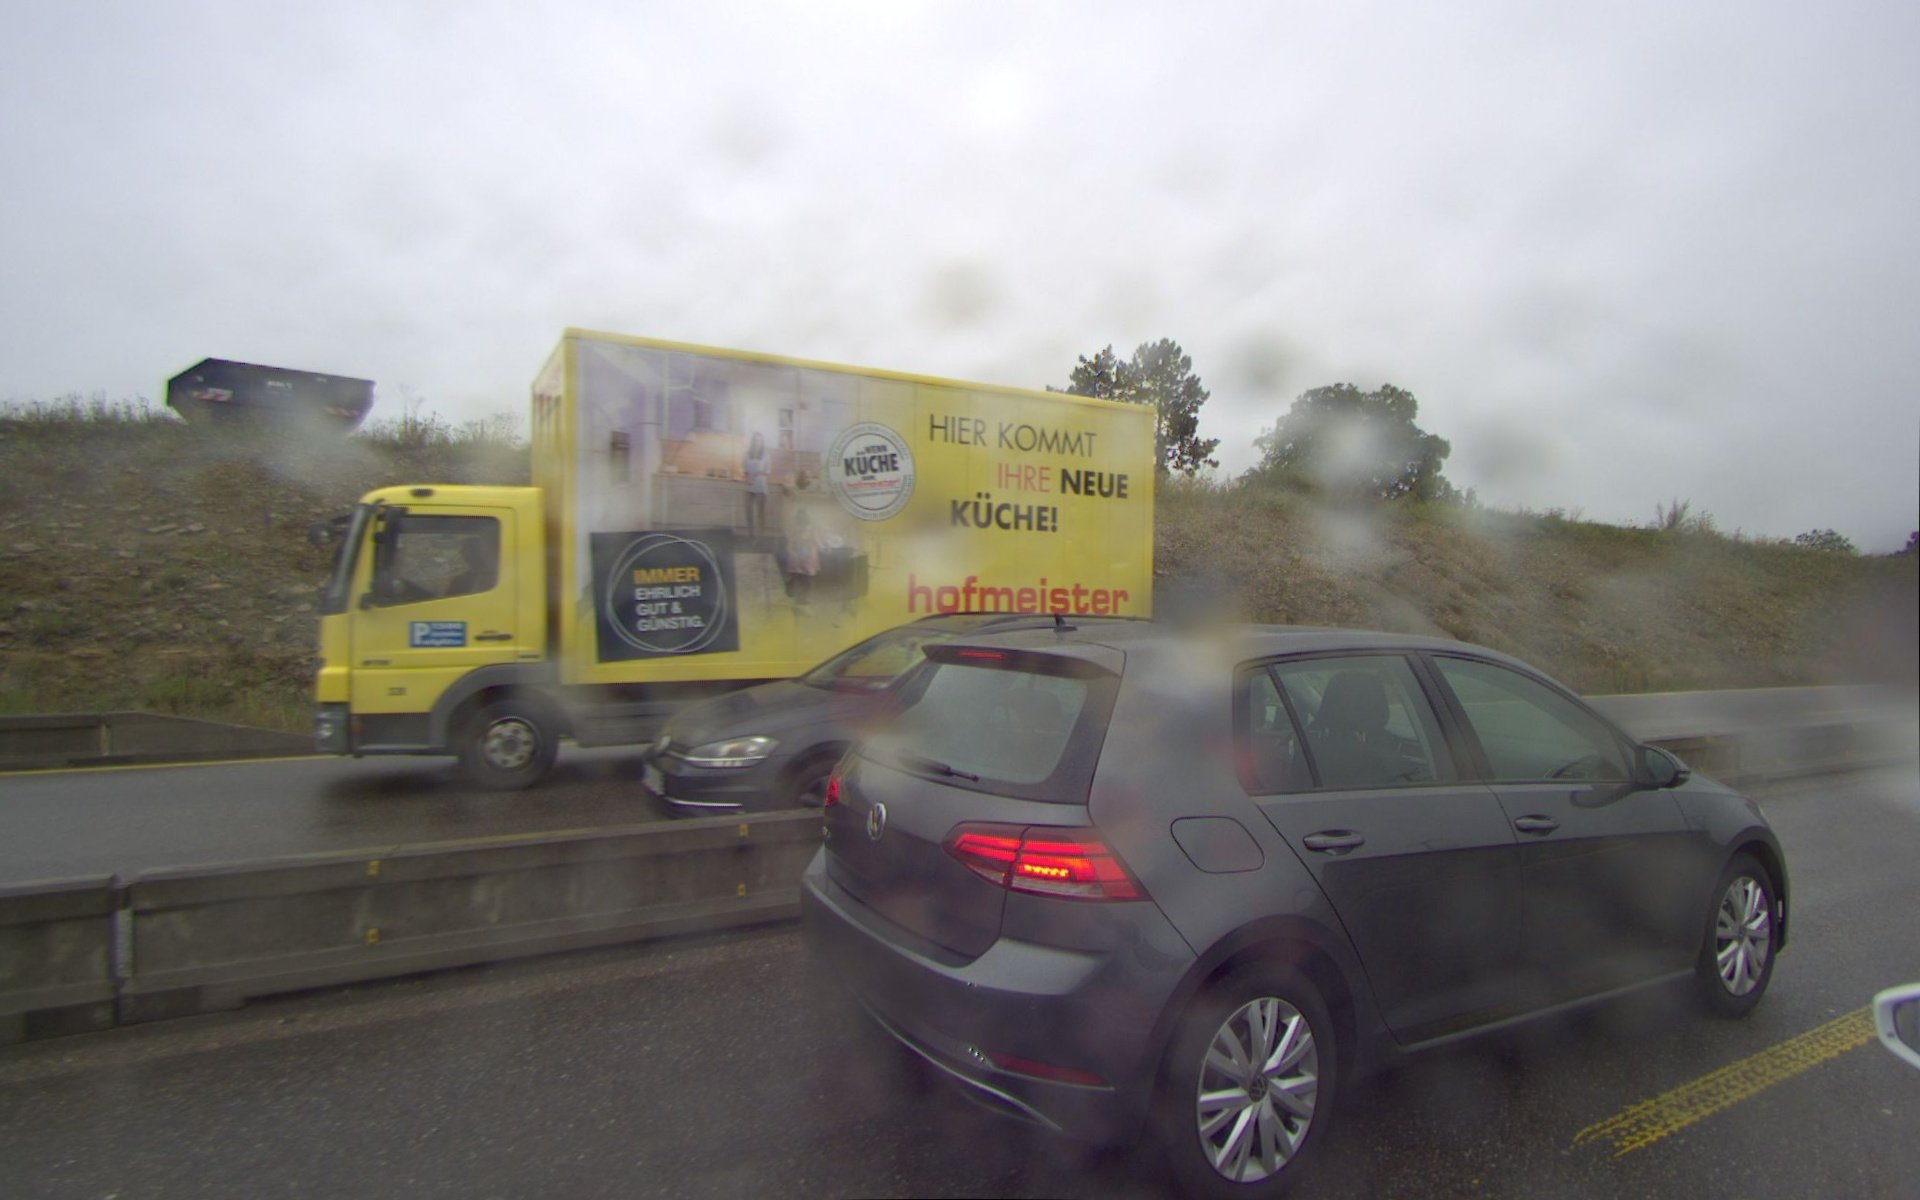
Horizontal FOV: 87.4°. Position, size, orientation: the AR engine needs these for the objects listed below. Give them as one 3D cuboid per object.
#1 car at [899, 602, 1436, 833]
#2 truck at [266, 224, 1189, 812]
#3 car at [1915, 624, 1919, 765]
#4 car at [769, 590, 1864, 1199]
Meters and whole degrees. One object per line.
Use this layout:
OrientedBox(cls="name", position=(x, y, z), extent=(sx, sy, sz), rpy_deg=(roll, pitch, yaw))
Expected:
OrientedBox(cls="car", position=(1.739, 0.787, 8.179), extent=(4.066, 1.425, 1.859), rpy_deg=(1, 0, -30))
OrientedBox(cls="truck", position=(-1.789, -0.486, 10.187), extent=(8.321, 4.050, 2.756), rpy_deg=(1, 0, -30))
OrientedBox(cls="car", position=(12.237, 1.040, 10.721), extent=(3.727, 1.496, 1.822), rpy_deg=(1, -1, -27))
OrientedBox(cls="car", position=(1.601, 0.806, 3.846), extent=(4.319, 1.526, 1.606), rpy_deg=(1, -2, -32))
